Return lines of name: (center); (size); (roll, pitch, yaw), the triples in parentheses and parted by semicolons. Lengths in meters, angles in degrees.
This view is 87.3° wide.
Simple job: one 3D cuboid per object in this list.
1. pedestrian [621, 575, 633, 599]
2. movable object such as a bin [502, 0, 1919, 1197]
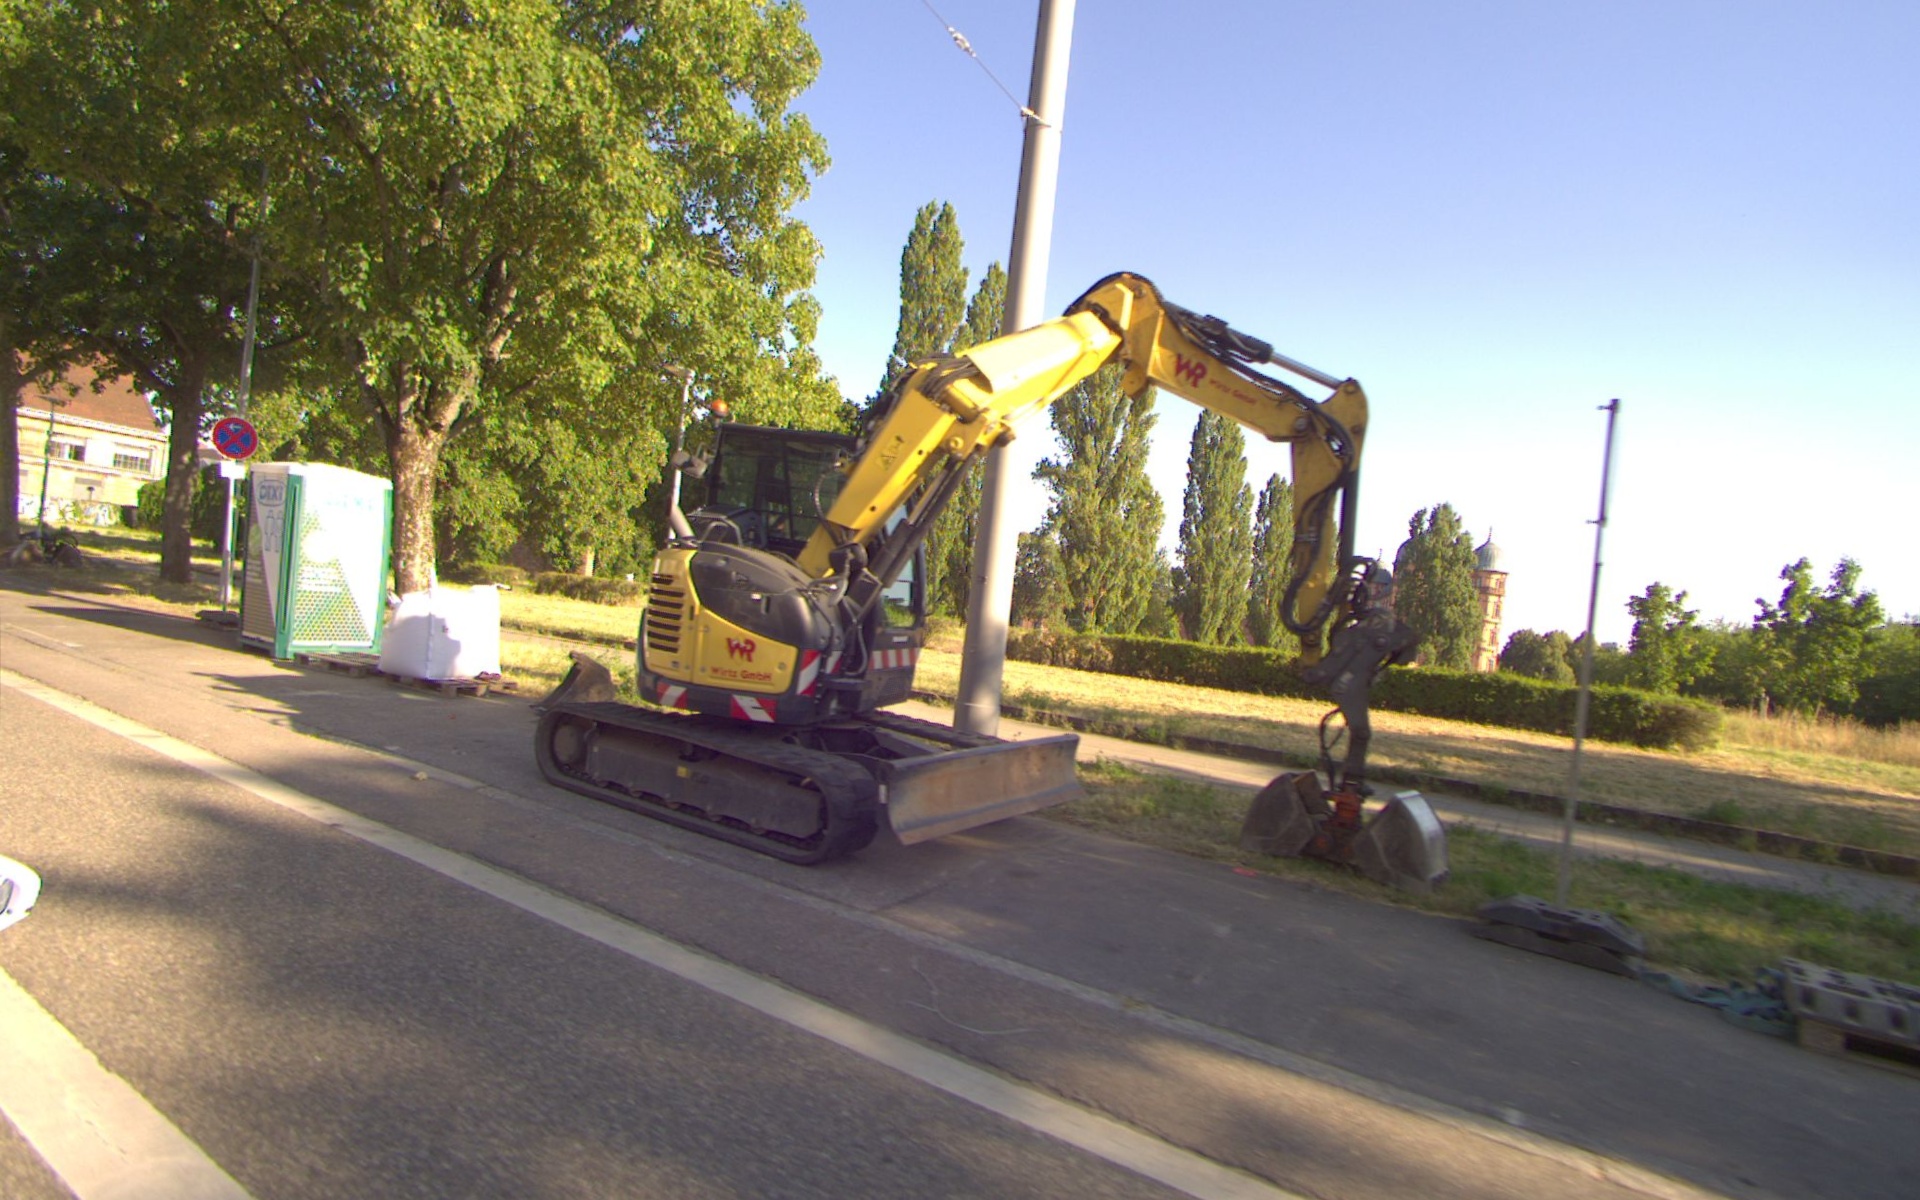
pedestrian: (-19.968, -0.774, 60.326); (0.340, 1.437, 0.578); (6, 1, 11)
movable object such as a bin: (1.025, -0.373, 6.431); (7.470, 4.030, 3.339); (6, 2, 30)
